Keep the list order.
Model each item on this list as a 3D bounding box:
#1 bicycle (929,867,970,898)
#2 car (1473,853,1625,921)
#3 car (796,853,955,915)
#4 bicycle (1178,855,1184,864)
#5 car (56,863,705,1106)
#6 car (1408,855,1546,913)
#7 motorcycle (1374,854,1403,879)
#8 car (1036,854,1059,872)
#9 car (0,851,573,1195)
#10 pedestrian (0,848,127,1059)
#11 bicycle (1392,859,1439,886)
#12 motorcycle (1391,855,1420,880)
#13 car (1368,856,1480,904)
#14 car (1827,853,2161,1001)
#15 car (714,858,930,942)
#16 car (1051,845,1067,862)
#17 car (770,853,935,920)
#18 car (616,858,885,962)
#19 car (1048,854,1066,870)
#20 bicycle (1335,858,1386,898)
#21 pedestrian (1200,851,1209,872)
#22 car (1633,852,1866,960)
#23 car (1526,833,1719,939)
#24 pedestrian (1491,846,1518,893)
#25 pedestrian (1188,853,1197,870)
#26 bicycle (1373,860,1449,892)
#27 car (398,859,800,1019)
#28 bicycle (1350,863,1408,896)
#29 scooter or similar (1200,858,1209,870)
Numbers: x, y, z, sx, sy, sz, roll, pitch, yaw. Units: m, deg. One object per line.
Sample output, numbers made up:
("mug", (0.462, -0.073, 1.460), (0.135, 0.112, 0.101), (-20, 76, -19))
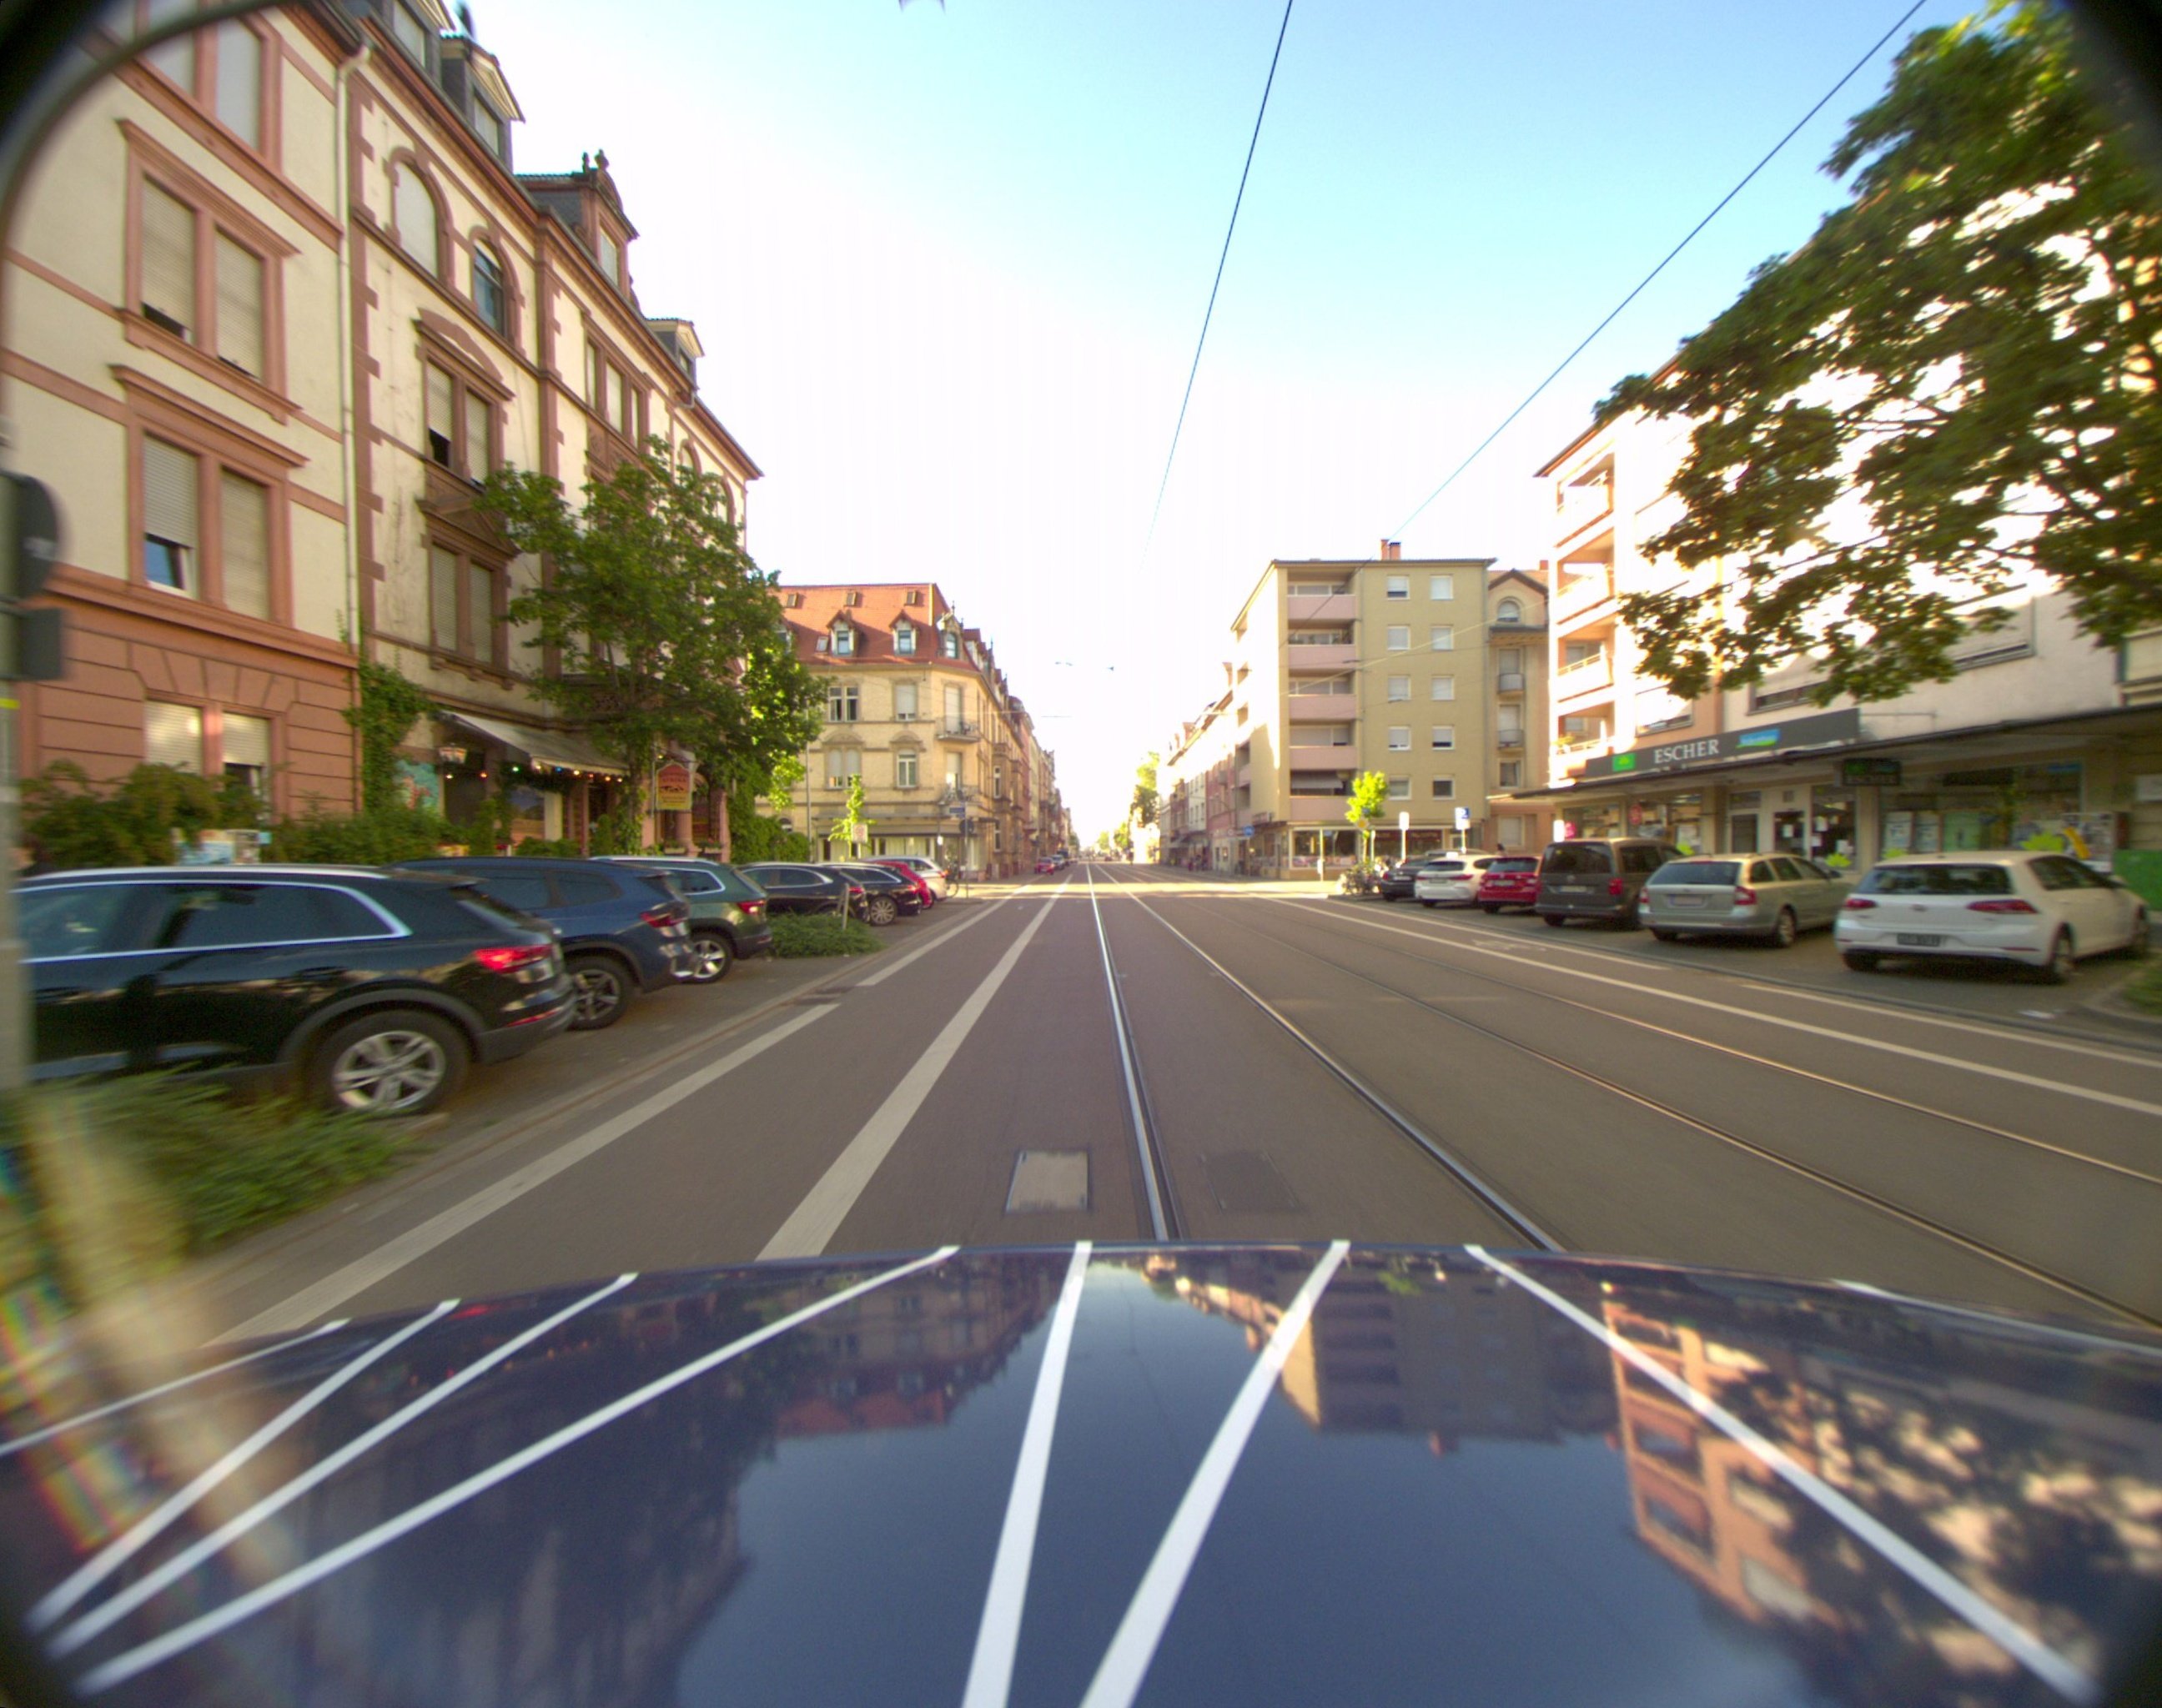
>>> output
("bicycle", (-4.925, 1.059, 28.504), (1.400, 1.120, 0.551), (-2, 1, 1))
("car", (11.466, 0.752, 18.604), (3.476, 1.464, 1.645), (-1, 0, -28))
("car", (-6.217, 0.843, 22.992), (4.370, 1.587, 1.850), (-2, 1, -24))
("bicycle", (12.060, 0.690, 91.330), (0.425, 1.053, 2.329), (-2, 1, 0))
("car", (-5.887, 0.960, 7.211), (4.004, 1.587, 2.083), (-2, 1, -24))
("car", (11.166, 0.782, 21.392), (3.798, 1.392, 1.750), (-2, 1, -32))
("motorcycle", (16.098, 0.647, 39.810), (0.621, 1.202, 2.176), (-2, 1, 1))
("car", (-2.986, 0.813, 68.312), (1.870, 1.474, 4.400), (2, 1, 0))
("car", (-5.704, 0.847, 4.469), (4.323, 1.587, 1.978), (-2, 1, -30))
("pedestrian", (-8.717, 0.782, 6.267), (0.519, 1.639, 0.863), (-2, 1, 1))
("bicycle", (14.284, 0.794, 32.539), (0.683, 1.102, 2.435), (-1, -2, -6))
("motorcycle", (16.890, 0.685, 39.580), (0.621, 1.202, 2.176), (-2, 1, 1))
("car", (11.003, 0.792, 24.329), (3.476, 1.330, 1.620), (-2, 1, -33))
("car", (11.380, 0.753, 9.447), (3.849, 1.421, 1.762), (-2, 1, -25))
("car", (-5.982, 0.964, 17.664), (4.454, 1.587, 2.084), (-2, 1, -24))
("car", (-3.461, -0.128, 120.464), (2.128, 2.478, 5.856), (-2, 1, 3))
("car", (-6.125, 0.802, 20.358), (4.004, 1.528, 1.914), (-2, 1, -24))
("car", (-6.137, 0.938, 14.457), (4.337, 1.587, 2.041), (-2, 1, -24))
("car", (-2.769, 0.875, 85.819), (1.871, 1.637, 4.399), (2, 0, -3))
("bicycle", (9.659, 0.821, 26.365), (0.683, 1.311, 2.435), (-2, -2, -3))
("pedestrian", (10.079, 0.602, 62.103), (0.564, 1.676, 0.616), (-2, 1, -1))
("car", (11.255, 0.760, 12.748), (4.025, 1.441, 1.695), (-2, 1, -29))
("car", (11.165, 0.566, 15.625), (3.828, 1.775, 1.793), (-4, 2, -30))
("pedestrian", (15.014, 0.532, 26.940), (0.570, 1.643, 0.641), (-2, 1, 1))
("pedestrian", (10.043, 0.698, 68.465), (0.637, 1.540, 0.623), (-2, 1, 0))
("bicycle", (12.154, 0.818, 28.035), (2.429, 1.102, 0.685), (-3, -2, 41))
("car", (-5.885, 0.935, 9.900), (4.004, 1.587, 1.955), (-2, 1, -24))
("bicycle", (10.710, 0.929, 27.348), (0.685, 1.116, 1.883), (-1, -2, -30))
("scooter or similar", (11.009, 0.877, 67.810), (0.663, 1.055, 1.105), (-2, 0, 1))
